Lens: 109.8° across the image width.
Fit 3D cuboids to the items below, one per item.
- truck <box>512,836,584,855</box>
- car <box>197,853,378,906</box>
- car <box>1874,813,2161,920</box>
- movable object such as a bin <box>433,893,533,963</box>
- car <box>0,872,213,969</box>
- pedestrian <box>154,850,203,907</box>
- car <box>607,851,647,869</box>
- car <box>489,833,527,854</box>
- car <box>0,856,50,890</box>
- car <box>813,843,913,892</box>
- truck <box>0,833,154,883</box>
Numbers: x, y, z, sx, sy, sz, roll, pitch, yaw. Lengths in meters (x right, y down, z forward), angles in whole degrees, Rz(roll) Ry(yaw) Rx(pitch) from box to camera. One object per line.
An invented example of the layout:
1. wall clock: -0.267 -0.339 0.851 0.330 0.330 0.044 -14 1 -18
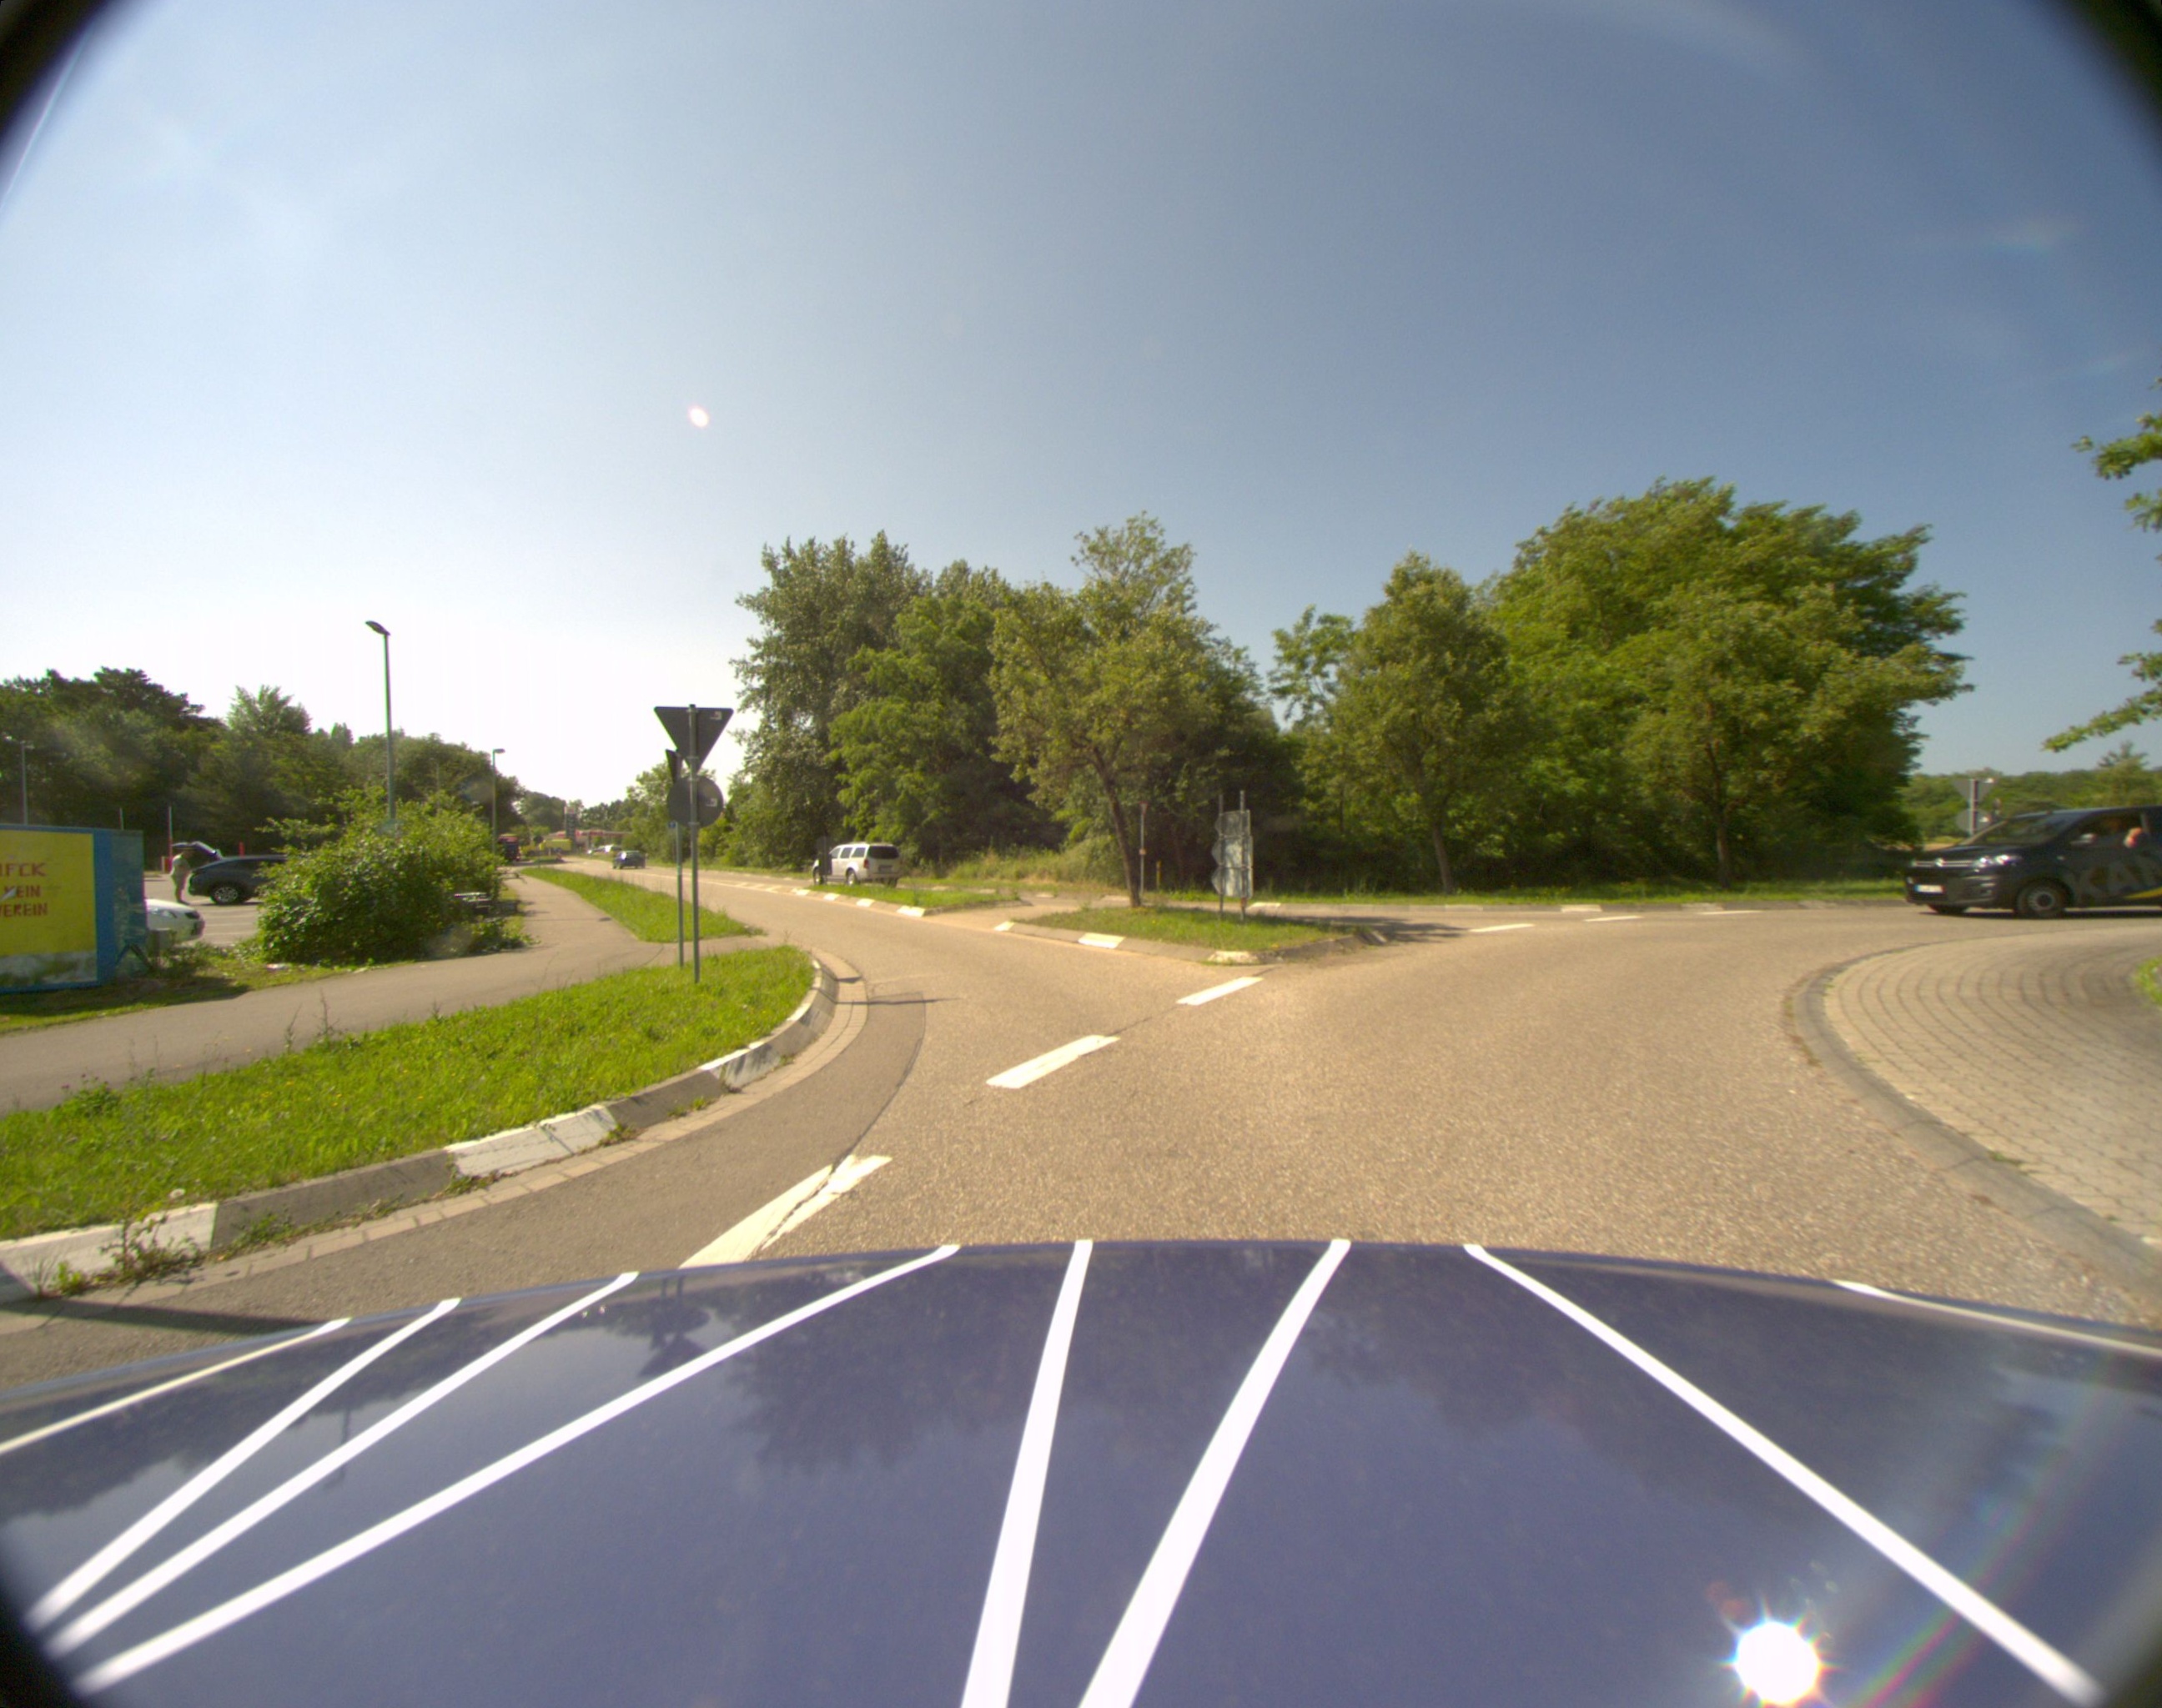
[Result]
1. truck: -97.316 -1.628 138.974 10.361 3.374 3.873 -1 1 -42
2. car: -27.466 0.811 26.532 4.140 1.618 1.747 -2 1 -40
3. car: 17.334 0.177 13.083 4.709 1.705 2.103 -1 1 13
4. movable object such as a bin: -11.229 1.356 14.334 0.871 1.114 1.453 -2 2 -11
5. car: -18.508 1.146 13.573 3.612 1.553 1.809 0 1 -35
6. pedestrian: -29.452 0.785 24.813 0.823 1.787 0.864 -2 2 -38
7. car: -36.181 0.445 60.518 1.842 1.379 4.411 -1 0 -43
8. car: -77.344 -1.399 102.505 5.137 2.795 2.682 0 2 38
9. car: -47.926 0.833 32.734 1.899 1.445 3.983 0 1 41
10. car: -8.763 0.465 30.318 1.903 1.805 4.582 -2 2 -43
11. truck: -54.691 0.177 40.972 5.628 2.590 2.197 -1 1 -40
